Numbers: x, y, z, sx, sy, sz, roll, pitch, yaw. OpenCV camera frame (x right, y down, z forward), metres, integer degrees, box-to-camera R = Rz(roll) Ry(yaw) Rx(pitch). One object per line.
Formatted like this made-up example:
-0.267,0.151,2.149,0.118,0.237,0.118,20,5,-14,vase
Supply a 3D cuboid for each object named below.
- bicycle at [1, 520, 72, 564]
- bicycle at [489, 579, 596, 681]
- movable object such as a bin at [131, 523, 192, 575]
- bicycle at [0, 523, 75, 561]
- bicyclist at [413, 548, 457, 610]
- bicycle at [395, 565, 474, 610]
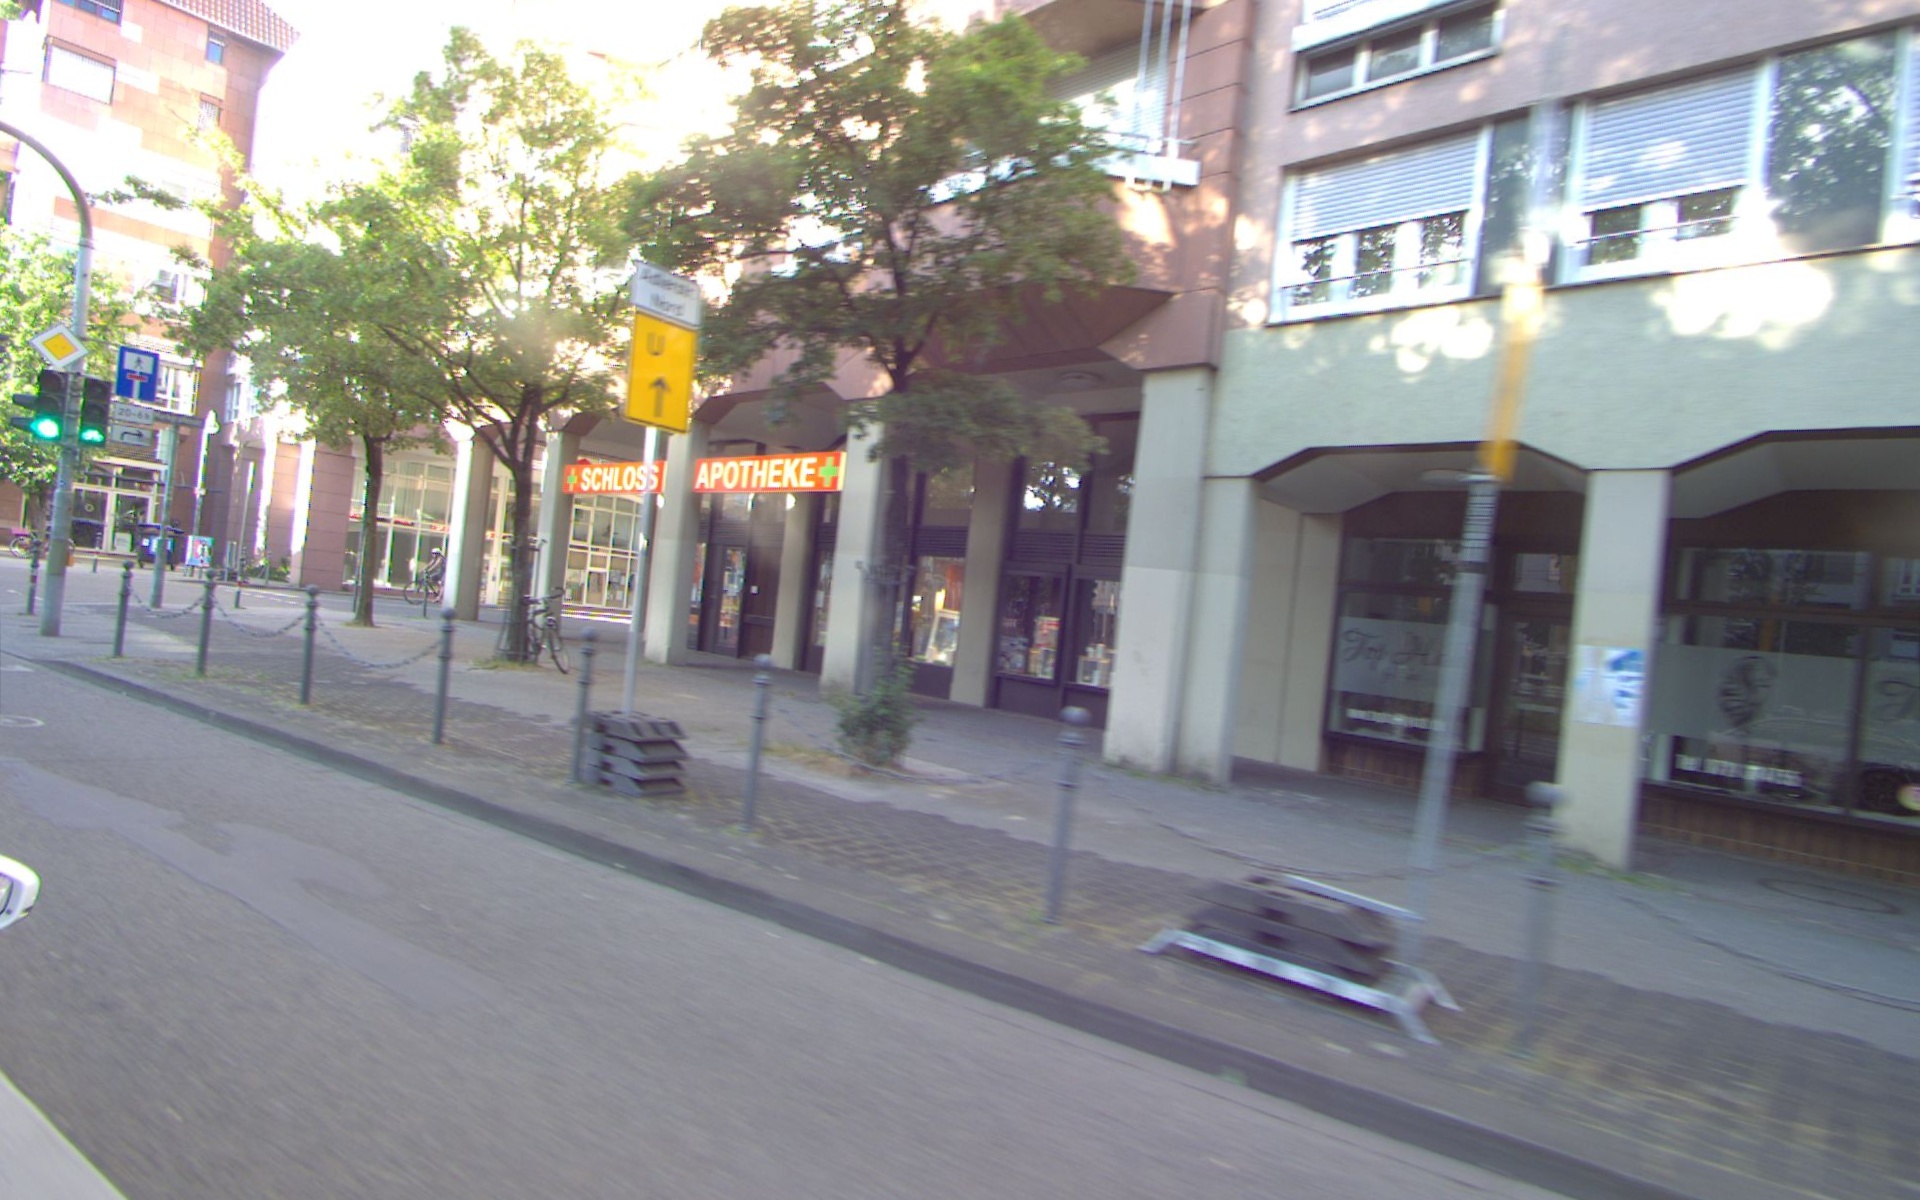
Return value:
-30.344,-1.896,33.077,0.569,1.242,1.567,6,-1,38,bicycle
-5.969,0.404,14.329,0.620,1.240,1.902,7,-1,-45,bicycle
-26.737,-1.704,33.693,0.860,1.499,1.407,6,-1,44,movable object such as a bin
-32.438,-2.020,35.404,1.733,1.065,0.734,7,-1,-31,bicycle
-16.171,-0.653,30.994,0.777,1.791,0.824,6,0,41,bicyclist
-16.186,-0.373,31.001,0.792,1.126,1.913,6,-1,40,bicycle
